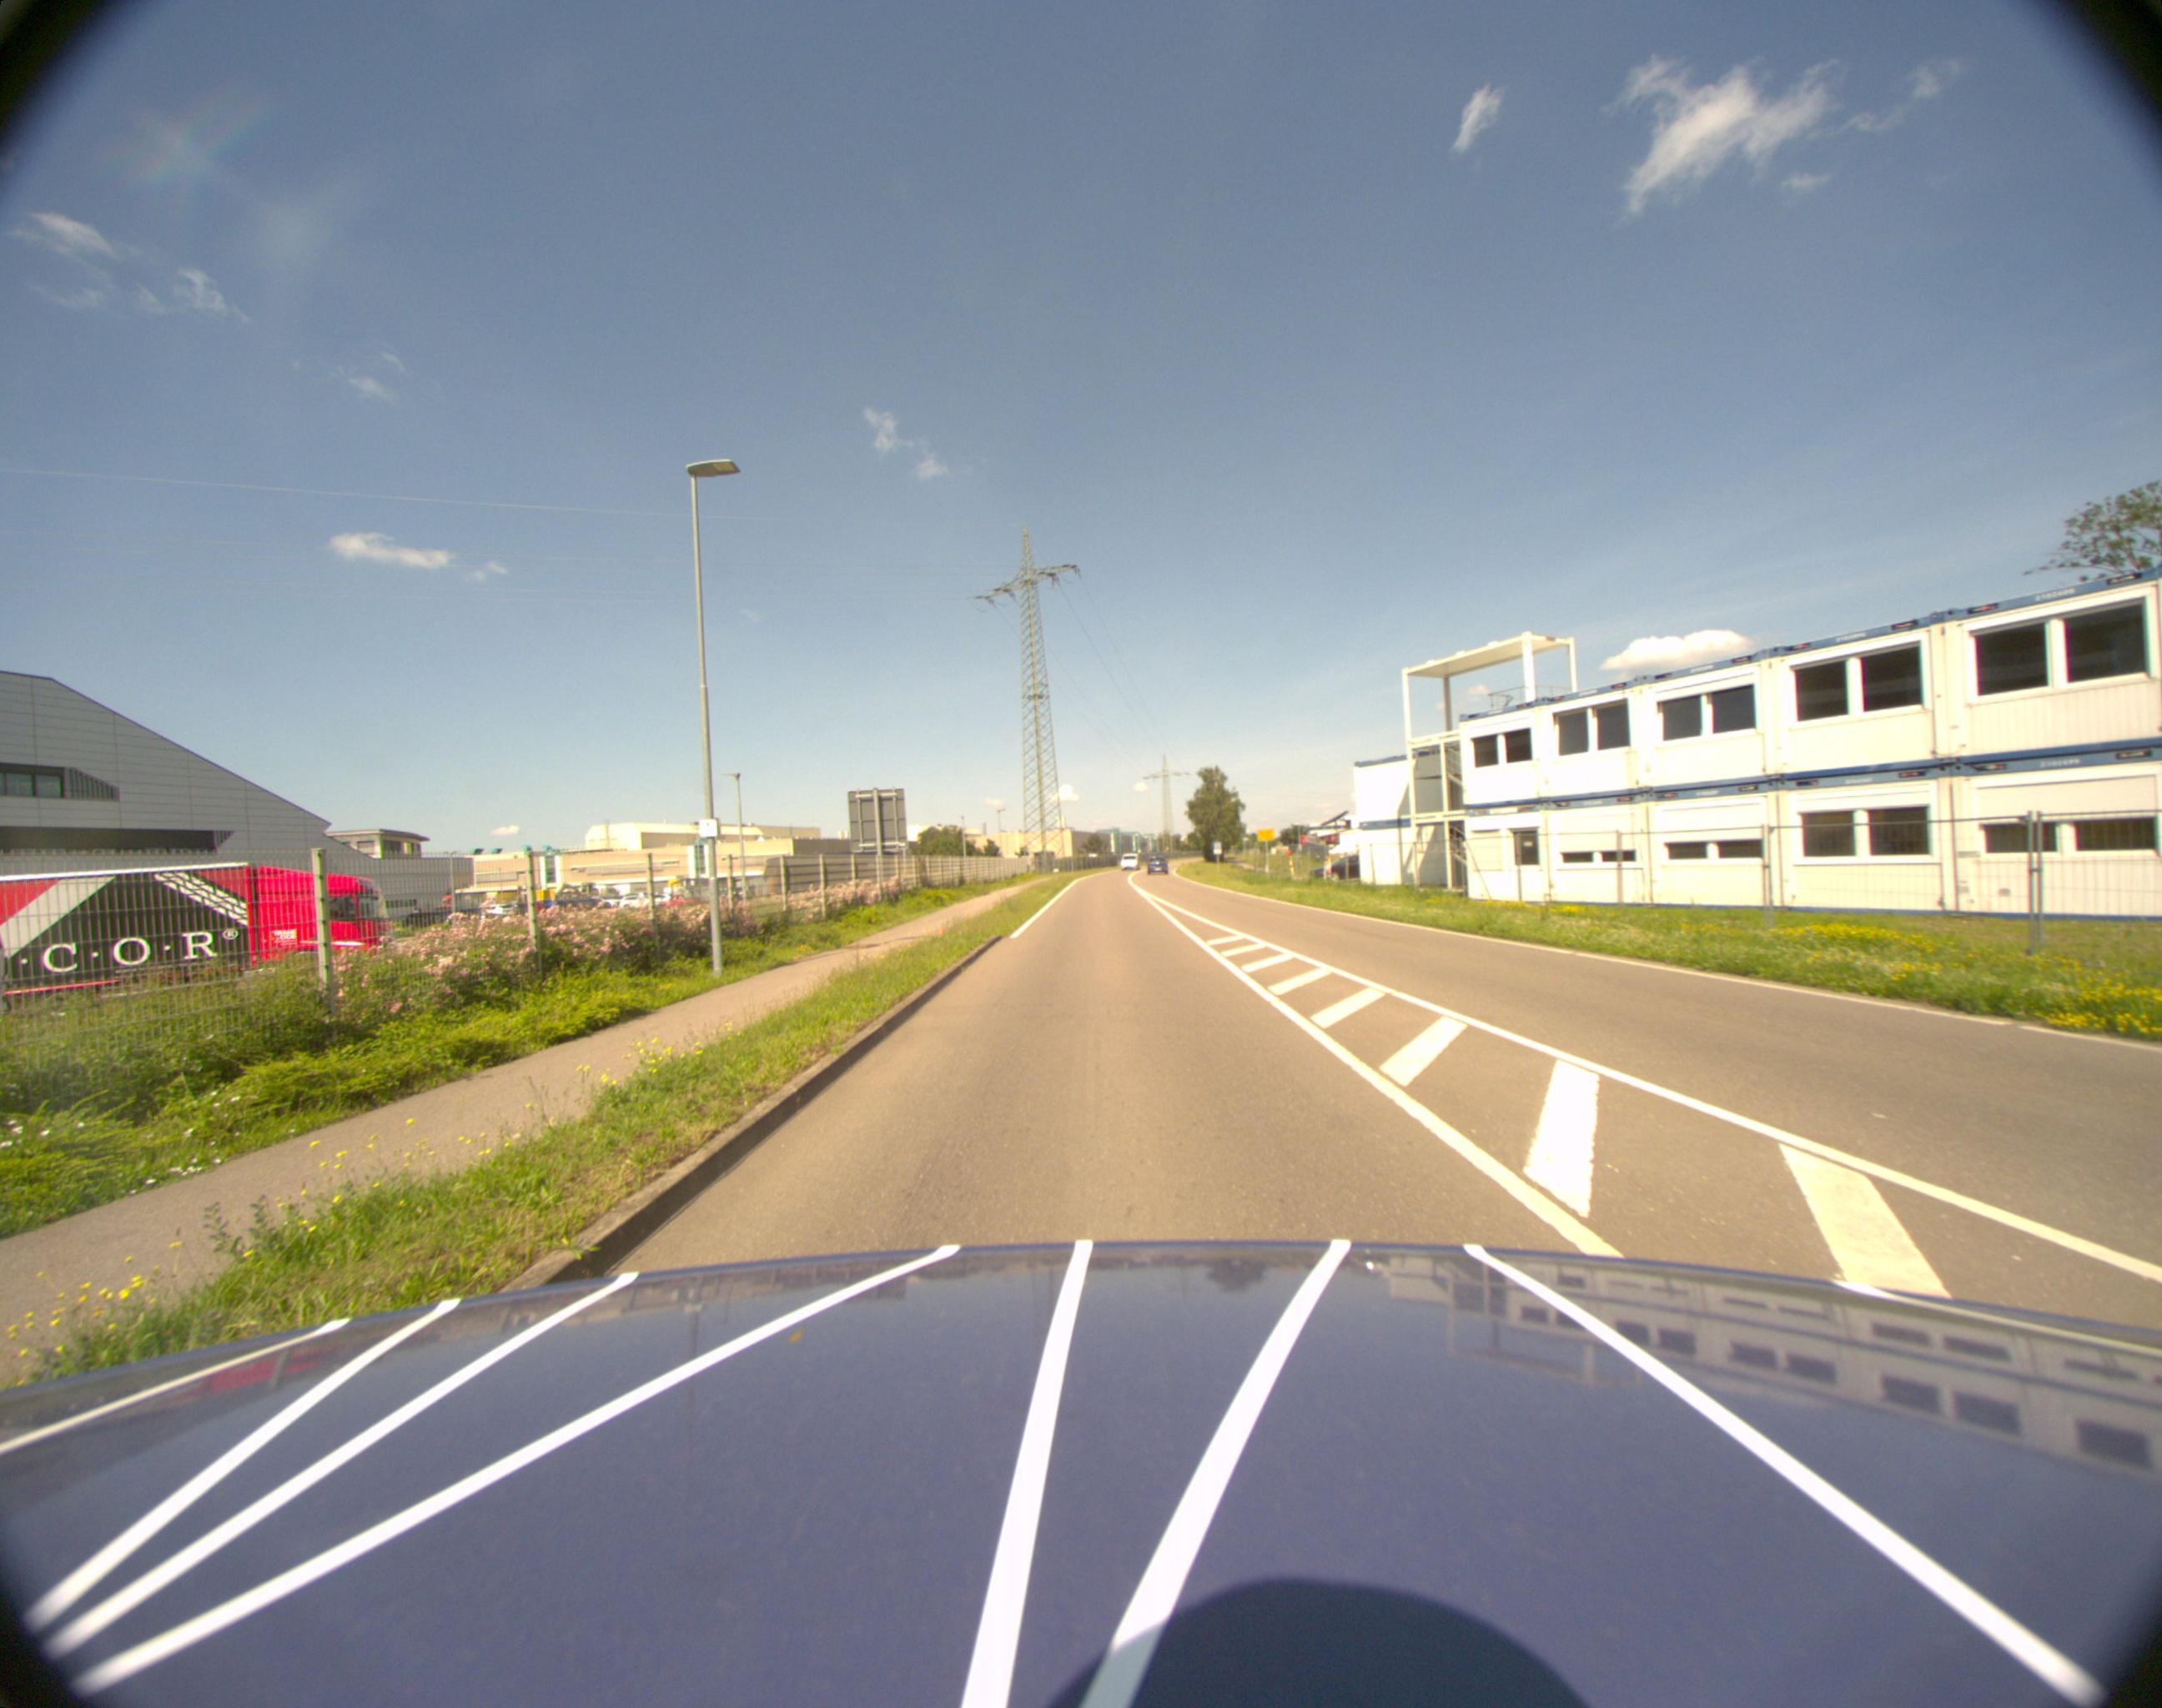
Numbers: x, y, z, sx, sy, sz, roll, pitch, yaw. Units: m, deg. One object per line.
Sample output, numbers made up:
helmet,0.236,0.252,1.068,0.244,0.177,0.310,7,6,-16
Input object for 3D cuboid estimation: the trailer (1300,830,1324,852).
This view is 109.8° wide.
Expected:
trailer,41.476,-2.264,136.617,3.295,3.624,14.938,-2,1,14

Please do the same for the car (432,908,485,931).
car,-49.120,5.196,59.971,3.053,1.525,1.472,-4,0,7

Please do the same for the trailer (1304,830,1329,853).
trailer,38.677,-2.050,125.171,3.404,3.624,8.666,-2,1,14

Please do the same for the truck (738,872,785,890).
truck,-63.660,5.295,151.901,1.997,2.944,11.862,-4,0,13

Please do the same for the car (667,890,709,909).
car,-37.553,4.374,72.613,3.148,1.525,1.456,-4,0,7

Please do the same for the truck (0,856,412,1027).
truck,-27.622,2.404,22.636,10.990,4.232,3.021,-3,1,-31

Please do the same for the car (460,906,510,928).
car,-48.961,5.164,62.452,3.053,1.525,1.472,-4,0,7

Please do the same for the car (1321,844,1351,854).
car,37.036,-0.738,110.306,3.993,1.335,1.749,-3,0,14

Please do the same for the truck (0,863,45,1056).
truck,-27.994,2.462,13.484,10.990,4.148,2.816,-3,1,-30

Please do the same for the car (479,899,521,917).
car,-57.855,5.378,75.713,3.053,1.525,1.472,-4,0,7

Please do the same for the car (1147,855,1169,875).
car,6.482,0.924,63.731,1.706,1.473,4.002,-2,1,7

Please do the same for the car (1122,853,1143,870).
car,5.736,0.798,84.336,1.835,1.796,4.832,-2,0,9

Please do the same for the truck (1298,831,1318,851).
truck,44.477,-2.495,149.012,3.106,3.624,10.603,-2,1,14

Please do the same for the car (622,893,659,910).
car,-47.166,5.047,81.417,3.053,1.525,1.472,-4,0,7

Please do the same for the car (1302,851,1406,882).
car,14.997,0.676,41.885,4.984,1.408,1.999,-3,0,-7

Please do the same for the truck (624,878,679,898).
truck,-86.069,6.746,152.773,1.997,3.119,11.862,-4,0,13
